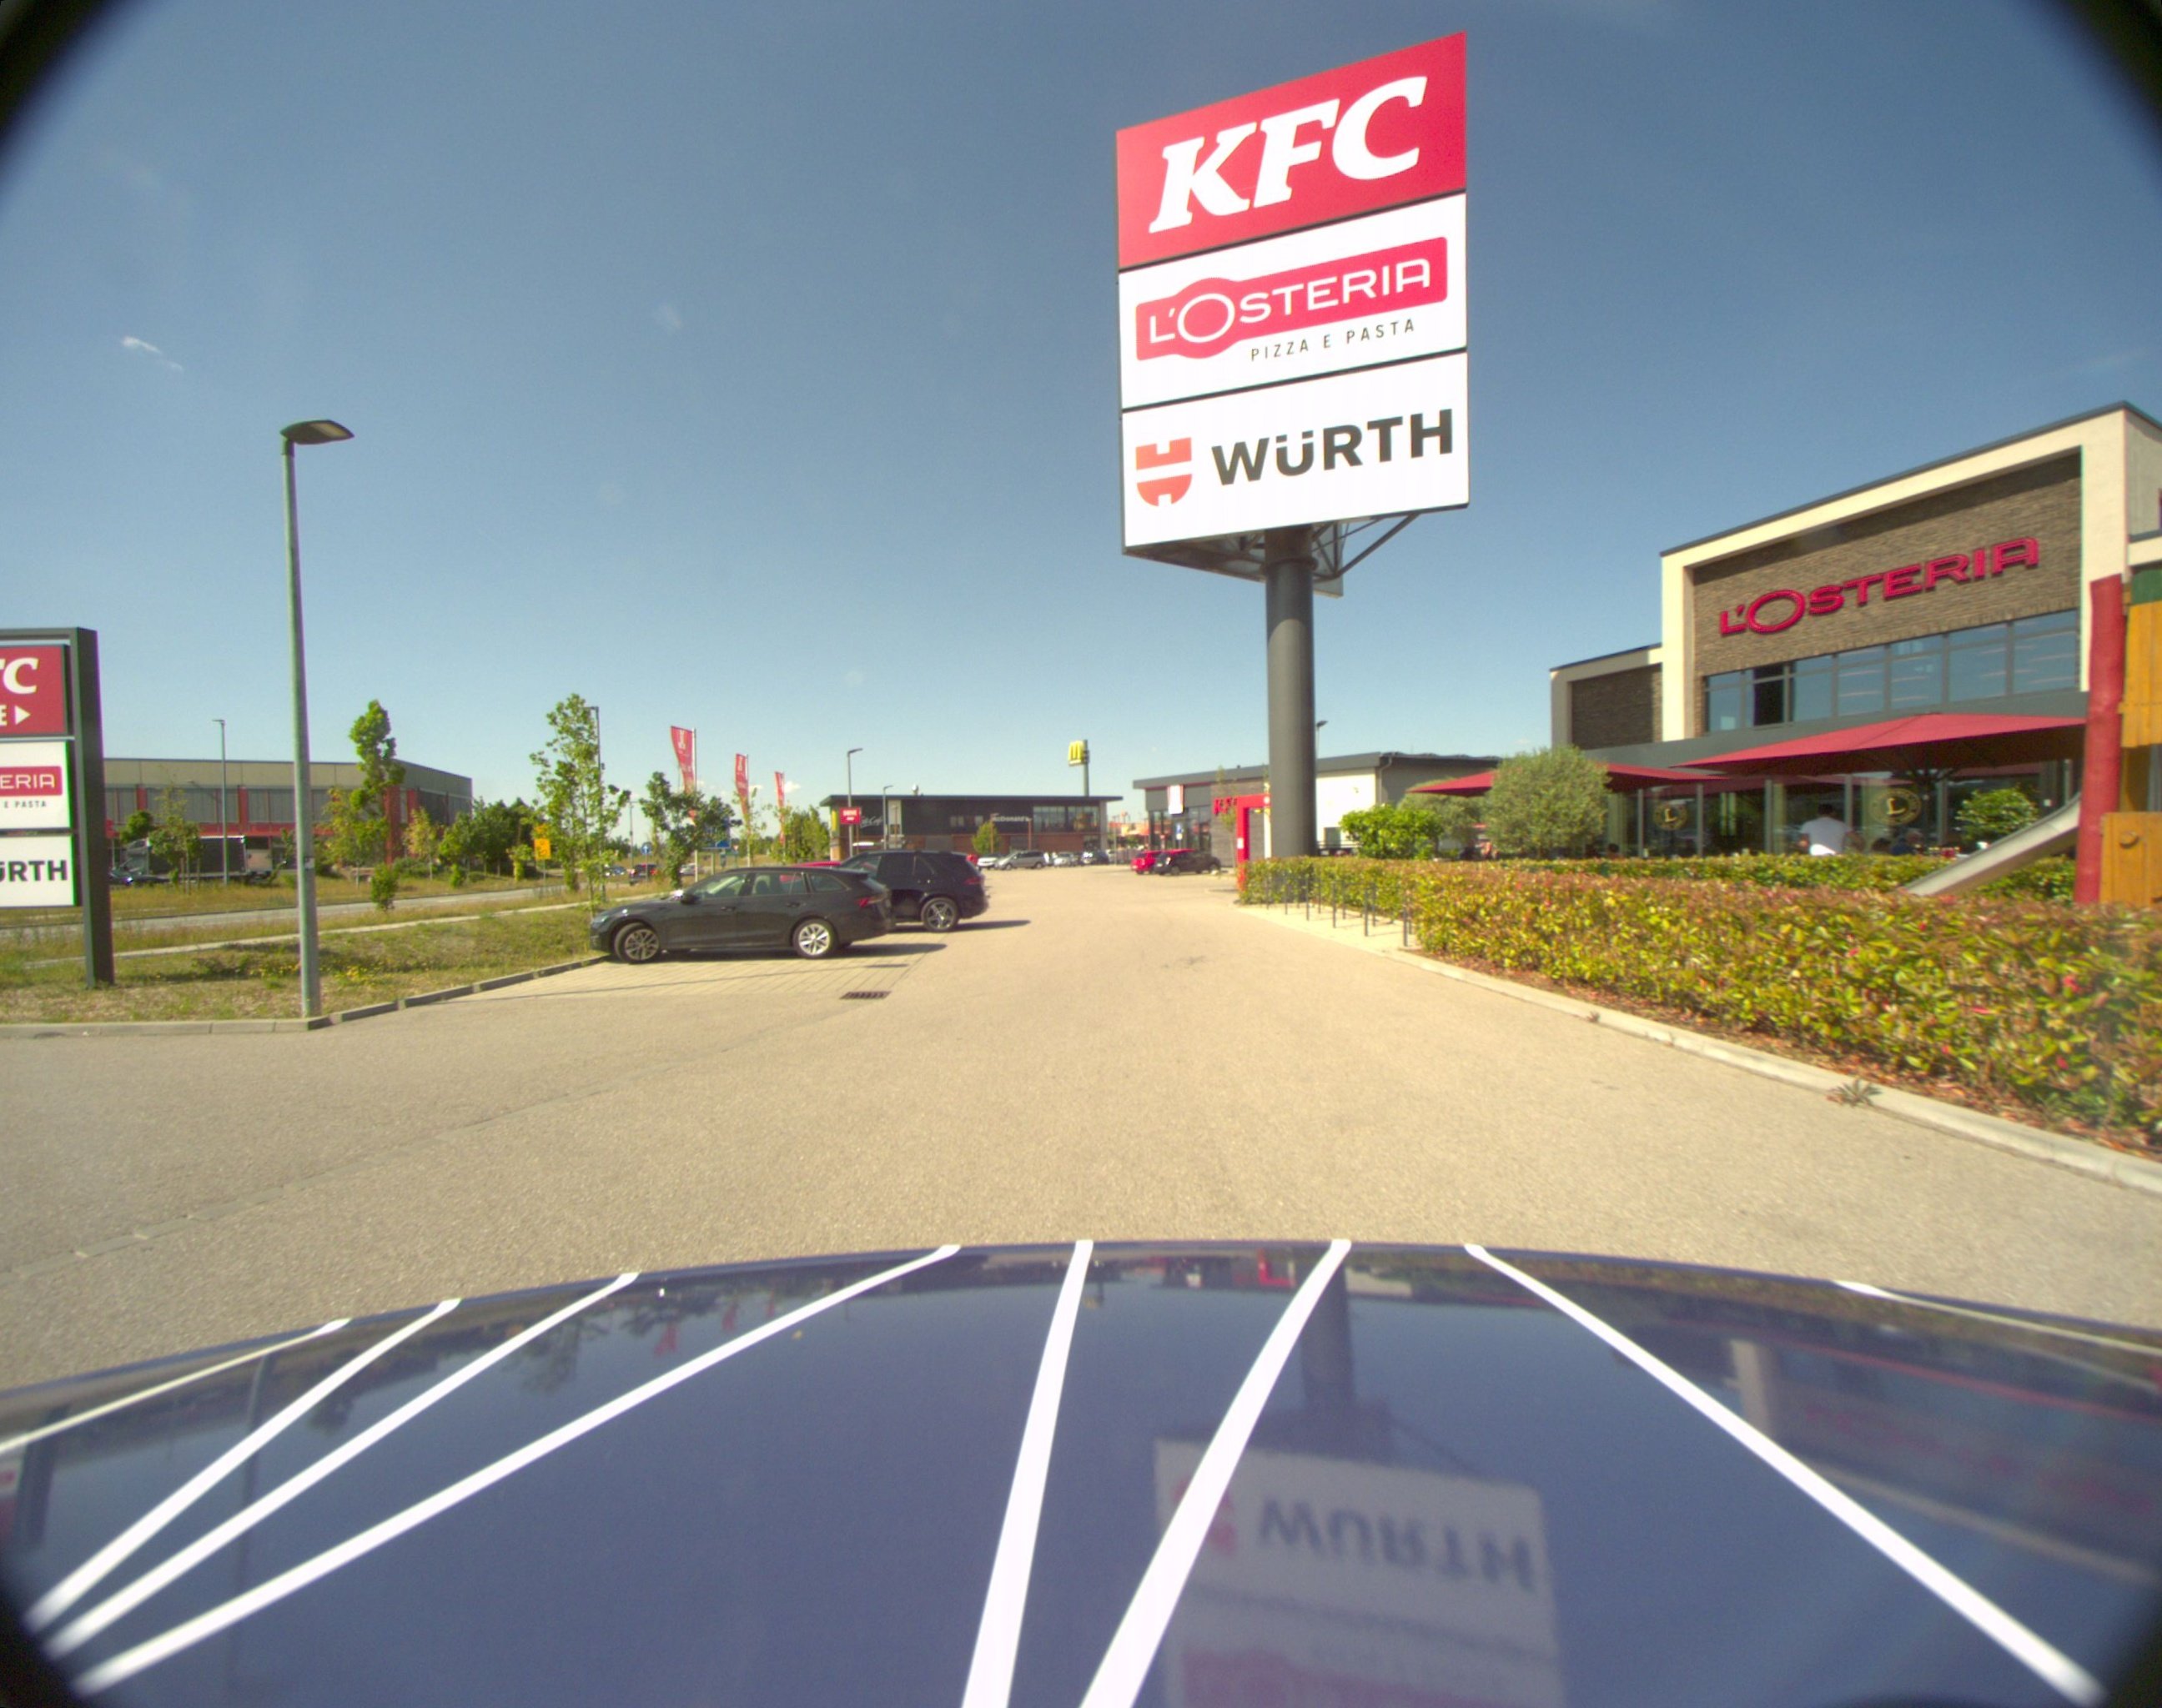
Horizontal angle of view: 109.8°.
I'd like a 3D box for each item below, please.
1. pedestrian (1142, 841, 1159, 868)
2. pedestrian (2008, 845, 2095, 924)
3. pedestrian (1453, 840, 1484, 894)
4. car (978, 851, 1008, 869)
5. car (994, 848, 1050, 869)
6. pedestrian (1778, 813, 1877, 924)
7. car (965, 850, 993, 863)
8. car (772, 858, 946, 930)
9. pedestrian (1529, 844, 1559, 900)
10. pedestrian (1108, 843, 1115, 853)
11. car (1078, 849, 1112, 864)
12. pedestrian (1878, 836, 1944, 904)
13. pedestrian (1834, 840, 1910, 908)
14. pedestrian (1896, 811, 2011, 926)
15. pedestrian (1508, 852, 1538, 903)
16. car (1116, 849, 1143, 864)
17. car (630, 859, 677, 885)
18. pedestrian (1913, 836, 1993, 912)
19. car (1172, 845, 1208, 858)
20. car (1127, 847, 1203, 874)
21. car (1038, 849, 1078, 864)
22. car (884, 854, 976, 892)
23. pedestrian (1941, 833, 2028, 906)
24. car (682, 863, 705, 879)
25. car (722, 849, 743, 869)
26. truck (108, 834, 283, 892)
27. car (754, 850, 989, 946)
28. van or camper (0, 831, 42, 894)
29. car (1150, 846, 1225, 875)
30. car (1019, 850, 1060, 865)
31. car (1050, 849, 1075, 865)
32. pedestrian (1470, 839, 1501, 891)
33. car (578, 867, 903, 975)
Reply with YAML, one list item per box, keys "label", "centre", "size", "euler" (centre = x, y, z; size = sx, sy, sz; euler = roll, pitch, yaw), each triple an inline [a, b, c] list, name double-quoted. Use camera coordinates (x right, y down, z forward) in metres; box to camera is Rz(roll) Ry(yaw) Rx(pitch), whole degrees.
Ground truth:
- label: "pedestrian"
  centre: [4.911, 0.033, 53.679]
  size: [0.727, 1.799, 0.992]
  euler: [-3, 2, -27]
- label: "pedestrian"
  centre: [13.871, 0.424, 10.869]
  size: [0.578, 1.083, 0.544]
  euler: [-2, 1, -8]
- label: "pedestrian"
  centre: [11.133, 0.368, 21.817]
  size: [0.526, 1.496, 0.568]
  euler: [-2, 1, -26]
- label: "car"
  centre: [-8.347, 0.545, 72.336]
  size: [1.973, 1.645, 4.209]
  euler: [-2, 0, 6]
- label: "car"
  centre: [-5.294, 0.382, 68.477]
  size: [4.689, 1.738, 1.829]
  euler: [-2, 1, -24]
- label: "pedestrian"
  centre: [11.794, 0.220, 12.029]
  size: [0.785, 1.678, 0.763]
  euler: [-2, 1, 2]
- label: "car"
  centre: [-12.677, 0.305, 94.575]
  size: [1.959, 1.457, 4.472]
  euler: [-2, 0, 13]
- label: "car"
  centre: [-5.655, 0.988, 19.872]
  size: [4.081, 1.599, 1.894]
  euler: [-2, 0, -9]
- label: "pedestrian"
  centre: [11.352, 0.433, 18.627]
  size: [0.480, 1.359, 0.652]
  euler: [-1, 1, 41]
- label: "pedestrian"
  centre: [4.614, -0.911, 115.755]
  size: [0.700, 1.550, 0.723]
  euler: [-1, 1, 38]
- label: "car"
  centre: [1.462, 0.224, 76.494]
  size: [1.971, 1.478, 4.789]
  euler: [-2, 0, 19]
- label: "pedestrian"
  centre: [15.187, 0.287, 13.906]
  size: [0.711, 1.191, 0.666]
  euler: [-2, 1, -31]
- label: "pedestrian"
  centre: [14.161, 0.351, 13.615]
  size: [0.709, 1.191, 0.617]
  euler: [-2, 1, 13]
- label: "pedestrian"
  centre: [12.743, 0.203, 11.117]
  size: [0.785, 1.605, 0.763]
  euler: [-2, 1, 2]
- label: "pedestrian"
  centre: [10.629, 0.557, 18.281]
  size: [0.480, 1.178, 0.652]
  euler: [-1, 1, 41]
- label: "car"
  centre: [5.001, 0.202, 77.949]
  size: [1.833, 1.451, 4.375]
  euler: [-2, 0, 17]
- label: "car"
  centre: [-31.134, 1.266, 55.494]
  size: [2.001, 1.723, 4.752]
  euler: [-2, 0, -17]
- label: "pedestrian"
  centre: [14.386, 0.320, 12.549]
  size: [0.710, 1.191, 0.616]
  euler: [-2, 1, -16]
- label: "car"
  centre: [13.216, -0.302, 92.127]
  size: [3.991, 1.543, 1.757]
  euler: [-2, 0, 19]
- label: "car"
  centre: [5.180, 0.394, 46.783]
  size: [4.407, 1.405, 1.737]
  euler: [-3, 1, -26]
- label: "car"
  centre: [-2.552, 0.250, 84.760]
  size: [4.105, 1.506, 1.816]
  euler: [-2, 1, 22]
- label: "car"
  centre: [-7.423, 0.925, 37.482]
  size: [4.232, 1.628, 1.948]
  euler: [-2, 1, -11]
- label: "pedestrian"
  centre: [15.335, 0.253, 12.915]
  size: [0.709, 1.191, 0.617]
  euler: [-2, 1, 7]
- label: "car"
  centre: [-43.919, 1.864, 86.161]
  size: [2.030, 1.707, 4.294]
  euler: [-2, 0, -23]
- label: "car"
  centre: [-41.118, 0.577, 89.642]
  size: [2.002, 2.184, 5.097]
  euler: [-2, 0, -23]
- label: "truck"
  centre: [-57.109, 0.554, 49.263]
  size: [6.837, 3.460, 2.764]
  euler: [-2, 0, -18]
- label: "car"
  centre: [-4.364, 0.882, 16.510]
  size: [4.589, 1.750, 1.894]
  euler: [-2, 1, -6]
- label: "van or camper"
  centre: [-54.333, 0.470, 34.550]
  size: [2.415, 3.083, 8.061]
  euler: [-2, 0, 10]
- label: "car"
  centre: [6.200, 0.365, 44.170]
  size: [3.913, 1.498, 1.737]
  euler: [-3, 1, -24]
- label: "car"
  centre: [-4.549, 0.378, 83.171]
  size: [4.105, 1.484, 1.714]
  euler: [-2, 1, 22]
- label: "car"
  centre: [-1.792, 0.293, 74.984]
  size: [1.973, 1.517, 4.209]
  euler: [-2, 0, 6]
- label: "pedestrian"
  centre: [11.810, 0.318, 22.180]
  size: [0.526, 1.496, 0.568]
  euler: [-2, 1, -26]
- label: "car"
  centre: [-5.308, 1.008, 12.409]
  size: [4.454, 1.478, 1.876]
  euler: [-1, 0, -6]
